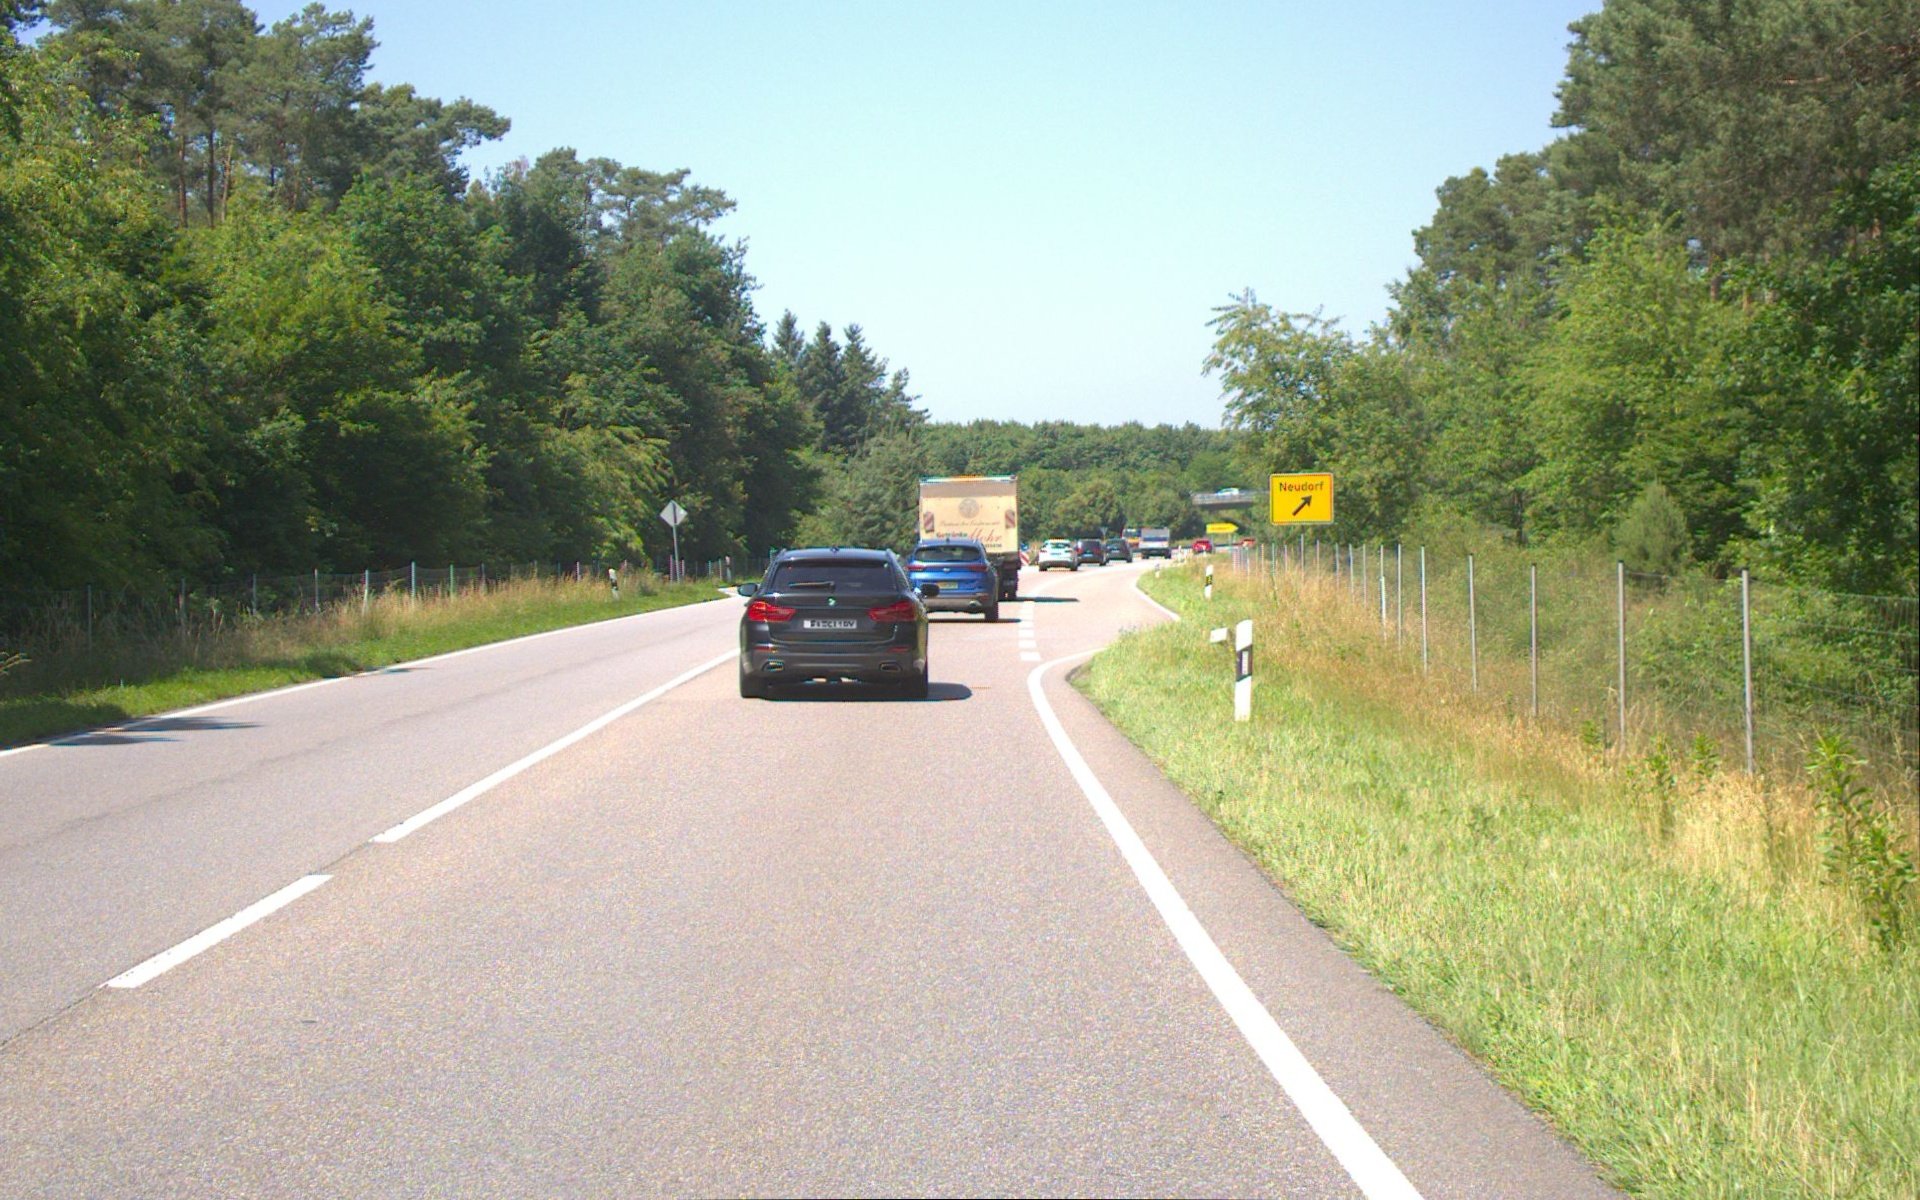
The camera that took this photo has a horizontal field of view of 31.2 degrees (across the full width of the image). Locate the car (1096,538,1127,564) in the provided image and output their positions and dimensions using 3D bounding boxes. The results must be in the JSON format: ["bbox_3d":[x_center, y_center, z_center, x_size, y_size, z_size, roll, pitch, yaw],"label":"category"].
[{"bbox_3d":[10.248,-3.305,232.297,1.994,1.631,4.000,-2,1,4],"label":"car"}]

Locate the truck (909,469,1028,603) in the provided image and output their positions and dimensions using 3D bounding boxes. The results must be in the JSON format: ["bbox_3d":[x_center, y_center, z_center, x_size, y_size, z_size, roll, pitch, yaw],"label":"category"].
[{"bbox_3d":[0.276,-1.712,91.100,2.966,3.376,6.438,-1,1,1],"label":"truck"}]

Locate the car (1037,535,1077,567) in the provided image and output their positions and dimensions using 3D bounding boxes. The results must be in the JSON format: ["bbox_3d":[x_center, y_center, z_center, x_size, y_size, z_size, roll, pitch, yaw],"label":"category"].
[{"bbox_3d":[5.057,-2.577,179.658,1.863,1.600,4.000,1,1,-1],"label":"car"}]

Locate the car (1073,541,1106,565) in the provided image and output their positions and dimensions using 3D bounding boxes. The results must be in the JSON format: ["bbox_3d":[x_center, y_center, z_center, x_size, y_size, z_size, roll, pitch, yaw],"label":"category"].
[{"bbox_3d":[7.879,-2.889,209.245,1.994,1.415,4.000,0,1,2],"label":"car"}]

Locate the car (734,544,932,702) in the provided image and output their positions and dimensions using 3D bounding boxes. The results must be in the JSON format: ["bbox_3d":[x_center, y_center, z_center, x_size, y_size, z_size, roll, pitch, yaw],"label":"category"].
[{"bbox_3d":[-1.338,0.185,34.764,1.820,1.465,4.001,-1,1,-4],"label":"car"}]

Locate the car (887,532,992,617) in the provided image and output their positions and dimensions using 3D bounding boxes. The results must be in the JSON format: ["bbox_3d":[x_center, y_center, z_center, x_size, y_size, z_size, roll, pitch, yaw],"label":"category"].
[{"bbox_3d":[-0.414,-0.525,67.071,1.947,1.536,4.000,-2,1,-1],"label":"car"}]
